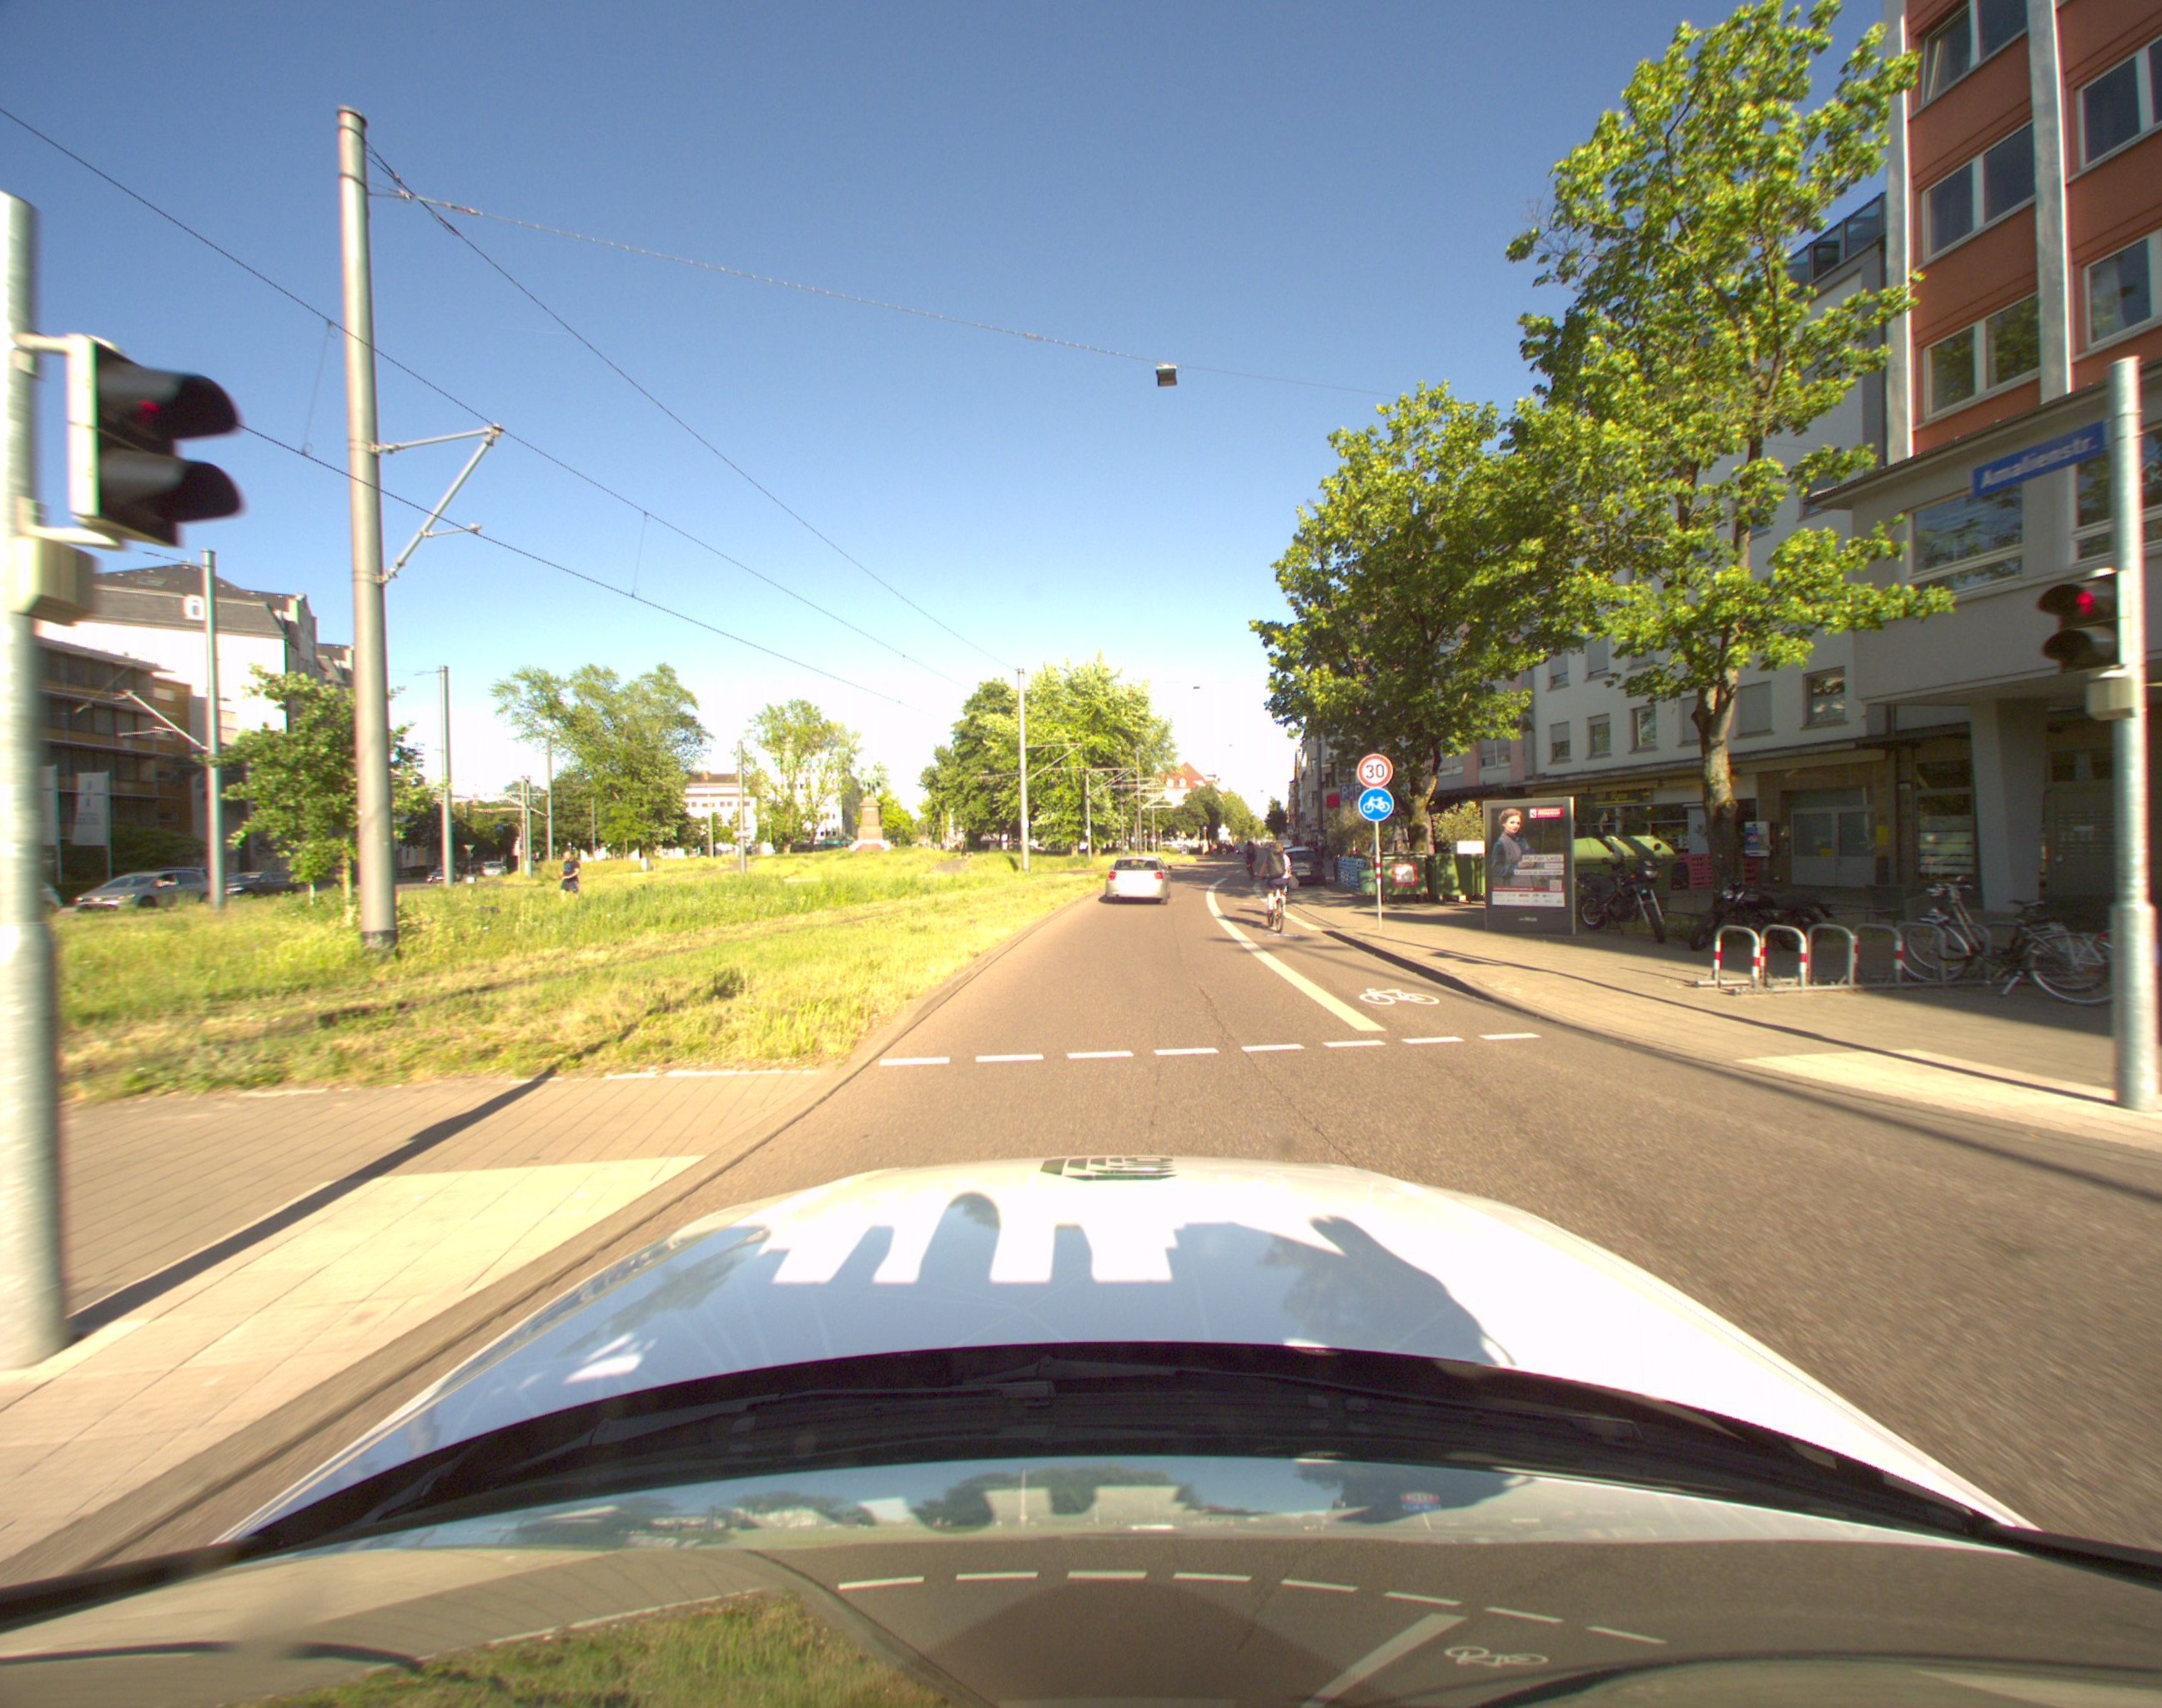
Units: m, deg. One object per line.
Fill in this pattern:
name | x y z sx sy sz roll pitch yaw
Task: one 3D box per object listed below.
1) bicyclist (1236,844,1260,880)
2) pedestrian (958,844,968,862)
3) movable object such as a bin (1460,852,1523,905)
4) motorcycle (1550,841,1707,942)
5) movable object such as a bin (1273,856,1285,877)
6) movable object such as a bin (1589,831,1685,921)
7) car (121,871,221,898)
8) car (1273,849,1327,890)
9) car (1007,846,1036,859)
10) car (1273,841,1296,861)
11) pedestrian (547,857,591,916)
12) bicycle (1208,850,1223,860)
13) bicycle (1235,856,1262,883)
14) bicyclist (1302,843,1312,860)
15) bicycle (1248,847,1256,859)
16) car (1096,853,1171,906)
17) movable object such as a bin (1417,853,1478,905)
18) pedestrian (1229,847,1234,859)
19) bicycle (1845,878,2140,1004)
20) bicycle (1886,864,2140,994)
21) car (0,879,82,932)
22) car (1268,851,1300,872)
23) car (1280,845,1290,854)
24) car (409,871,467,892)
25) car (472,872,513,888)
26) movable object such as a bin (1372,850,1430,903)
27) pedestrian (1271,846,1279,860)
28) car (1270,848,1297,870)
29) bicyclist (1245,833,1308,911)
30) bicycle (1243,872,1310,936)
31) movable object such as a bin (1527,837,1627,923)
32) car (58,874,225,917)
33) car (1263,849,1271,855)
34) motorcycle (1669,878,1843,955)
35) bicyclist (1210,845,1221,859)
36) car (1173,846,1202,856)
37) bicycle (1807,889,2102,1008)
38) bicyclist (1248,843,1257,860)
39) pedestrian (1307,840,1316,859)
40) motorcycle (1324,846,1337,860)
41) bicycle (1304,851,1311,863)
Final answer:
bicyclist | 7.810 0.376 38.050 0.936 1.633 0.935 0 -1 -1
pedestrian | -10.950 -0.093 75.622 0.678 1.616 0.549 1 -1 -39
movable object such as a bin | 11.101 0.646 22.046 1.212 1.390 0.956 0 -1 -9
motorcycle | 9.043 0.561 13.623 0.801 1.539 2.542 0 0 -4
movable object such as a bin | 10.367 0.655 42.594 0.569 1.082 0.572 0 -1 10
movable object such as a bin | 11.137 0.423 16.337 1.256 1.709 0.941 -1 -1 -11
car | -58.353 1.927 52.338 4.020 1.581 1.977 1 -1 -40
car | 8.717 0.584 32.711 1.754 1.438 4.598 -2 0 12
car | -11.229 -0.272 153.001 5.335 2.314 1.993 0 -1 -10
car | 18.578 -0.258 74.300 1.979 1.813 4.325 0 0 13
pedestrian | -14.705 0.925 23.396 0.728 1.671 0.747 -1 0 15
bicycle | 14.999 0.154 90.952 0.811 1.069 2.571 1 0 -13
bicycle | 7.803 0.712 38.039 0.817 1.185 1.963 0 -1 -1
bicyclist | 17.111 -0.179 61.646 0.752 1.326 0.998 0 -1 15
bicycle | 14.959 -0.076 71.024 0.648 0.958 2.707 0 0 12
car | 1.670 0.718 24.499 1.983 1.423 4.205 0 0 7
movable object such as a bin | 9.739 0.665 21.684 1.172 1.356 0.925 0 -1 -9
pedestrian | 19.529 -0.125 105.883 0.631 1.672 0.695 0 -1 14
bicycle | 9.464 0.835 8.611 0.476 1.117 2.110 1 -1 -13
bicycle | 10.358 0.773 9.167 0.532 1.244 1.840 1 1 -12
car | -34.888 1.637 25.514 1.995 1.596 4.637 1 0 -12
car | 13.332 0.494 53.222 1.837 1.344 4.619 0 0 16
car | 39.165 -0.766 156.612 1.886 1.675 4.842 0 0 13
car | -50.698 2.208 64.314 1.997 1.513 4.260 0 -3 -15
car | -57.584 2.550 79.749 2.000 1.354 4.736 0 1 -20
movable object such as a bin | 8.533 0.592 21.788 1.273 1.391 0.924 0 -1 7
pedestrian | 24.271 -0.099 102.127 0.669 1.699 0.800 0 -1 -18
car | 14.379 0.368 57.783 1.658 1.518 4.217 0 0 16
bicyclist | 3.835 0.343 16.035 1.033 1.484 0.989 0 -1 2
bicycle | 3.821 0.951 16.110 0.882 1.136 2.230 0 0 3
movable object such as a bin | 9.817 0.491 16.162 1.381 1.639 1.004 0 0 -11
car | -35.954 1.534 31.380 1.997 1.427 4.487 1 0 -15
car | 47.899 -0.559 209.568 1.857 1.556 4.015 0 0 14
motorcycle | 9.673 0.871 11.691 2.096 1.021 0.760 0 0 -10
bicyclist | 15.004 -0.197 90.994 0.930 1.507 0.822 1 -1 -14
car | 20.943 -0.609 159.591 5.269 1.800 2.154 0 -1 -13
bicycle | 8.794 0.892 8.366 0.476 0.984 2.110 1 -1 -13
bicyclist | 14.996 -0.227 71.217 0.781 1.453 1.099 0 -1 12
pedestrian | 23.156 -0.480 81.790 0.665 1.856 0.613 -3 -2 17
motorcycle | 21.024 -0.053 68.638 0.757 1.155 2.059 -4 -2 23
bicycle | 17.134 0.227 61.666 0.530 0.891 2.078 0 -1 15
